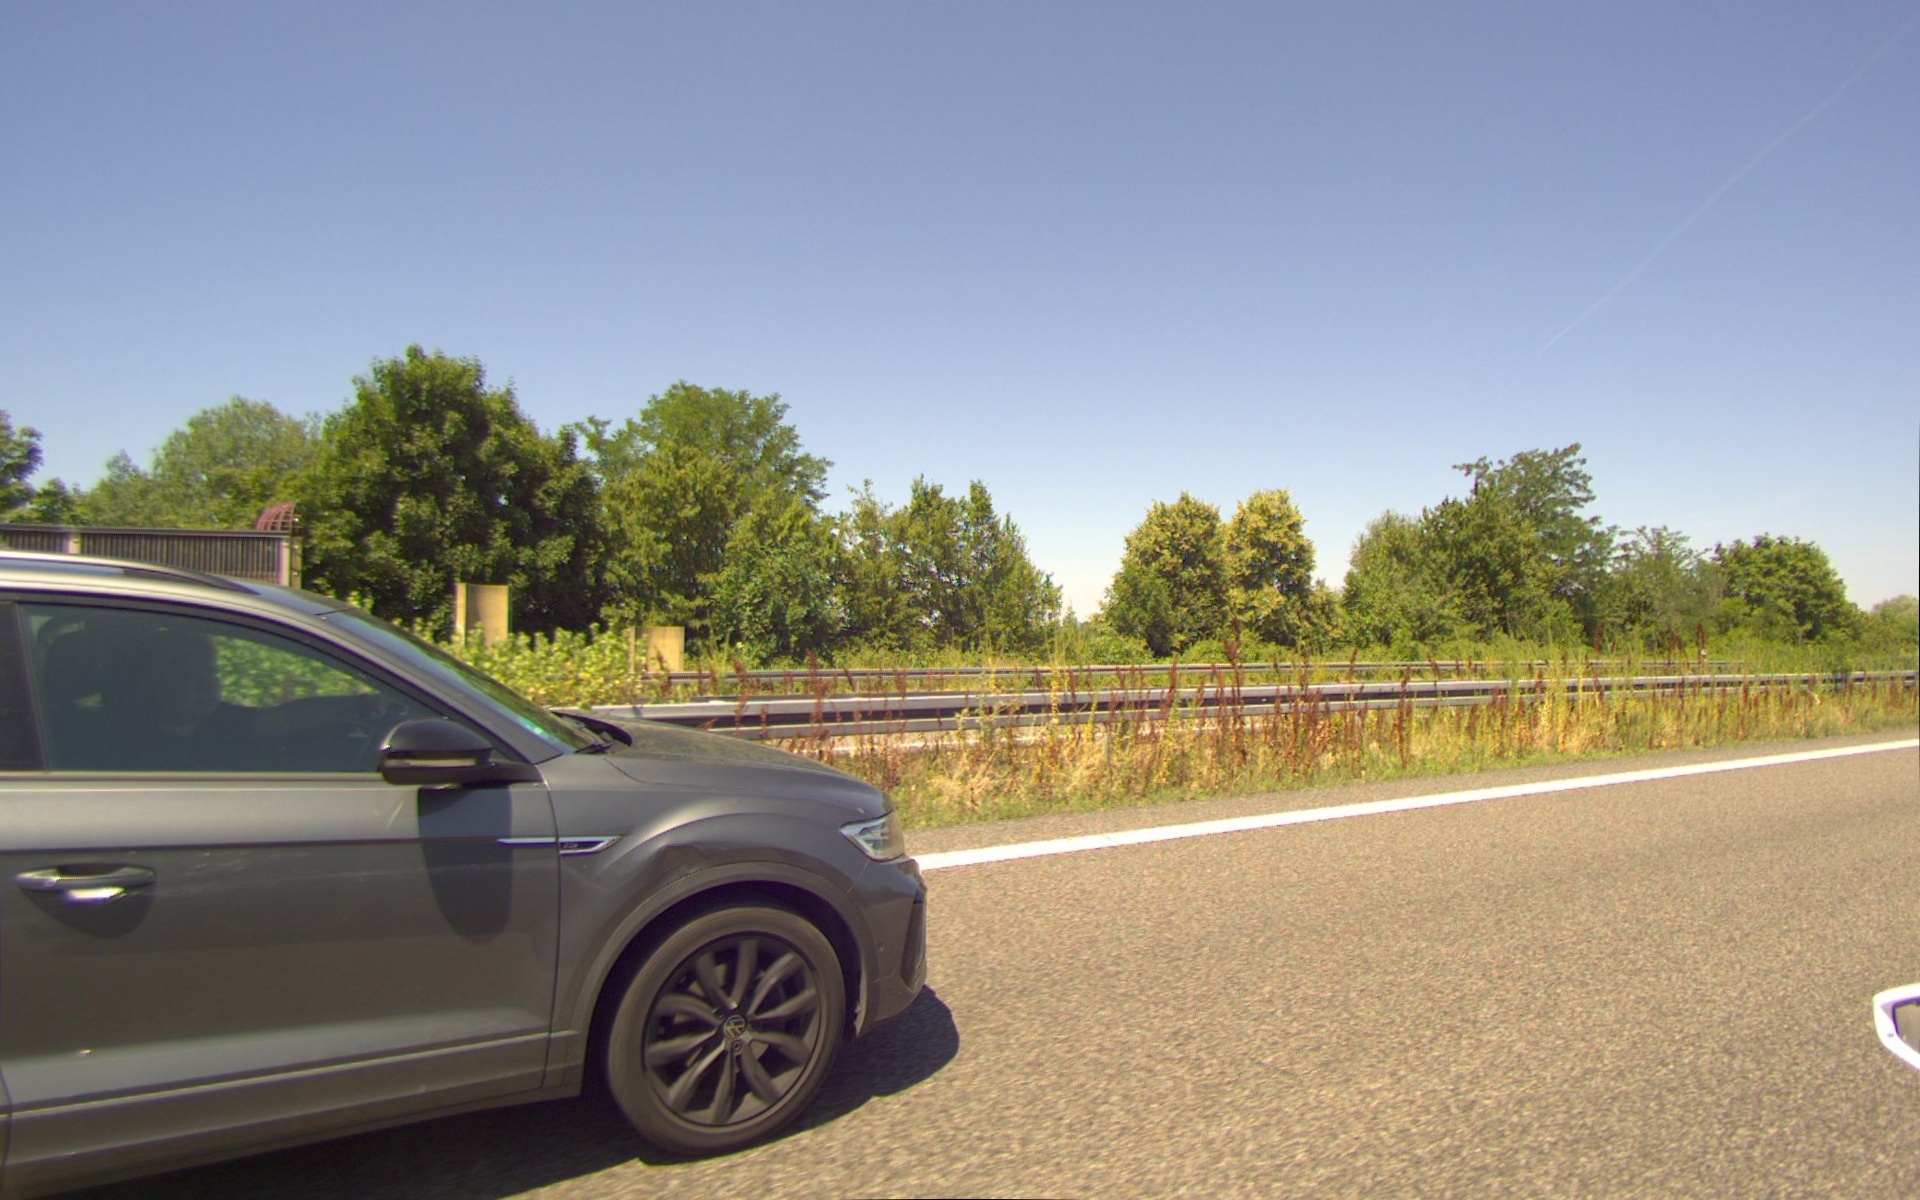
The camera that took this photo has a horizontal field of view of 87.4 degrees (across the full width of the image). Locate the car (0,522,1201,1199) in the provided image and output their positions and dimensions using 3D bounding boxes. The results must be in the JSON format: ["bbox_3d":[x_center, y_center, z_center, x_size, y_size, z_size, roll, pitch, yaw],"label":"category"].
[{"bbox_3d":[-1.743,0.699,3.007,4.952,1.662,1.870,0,-1,-32],"label":"car"}]

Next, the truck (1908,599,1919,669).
[{"bbox_3d":[58.734,1.977,58.730,7.328,3.986,2.720,1,-4,-30],"label":"truck"}]
